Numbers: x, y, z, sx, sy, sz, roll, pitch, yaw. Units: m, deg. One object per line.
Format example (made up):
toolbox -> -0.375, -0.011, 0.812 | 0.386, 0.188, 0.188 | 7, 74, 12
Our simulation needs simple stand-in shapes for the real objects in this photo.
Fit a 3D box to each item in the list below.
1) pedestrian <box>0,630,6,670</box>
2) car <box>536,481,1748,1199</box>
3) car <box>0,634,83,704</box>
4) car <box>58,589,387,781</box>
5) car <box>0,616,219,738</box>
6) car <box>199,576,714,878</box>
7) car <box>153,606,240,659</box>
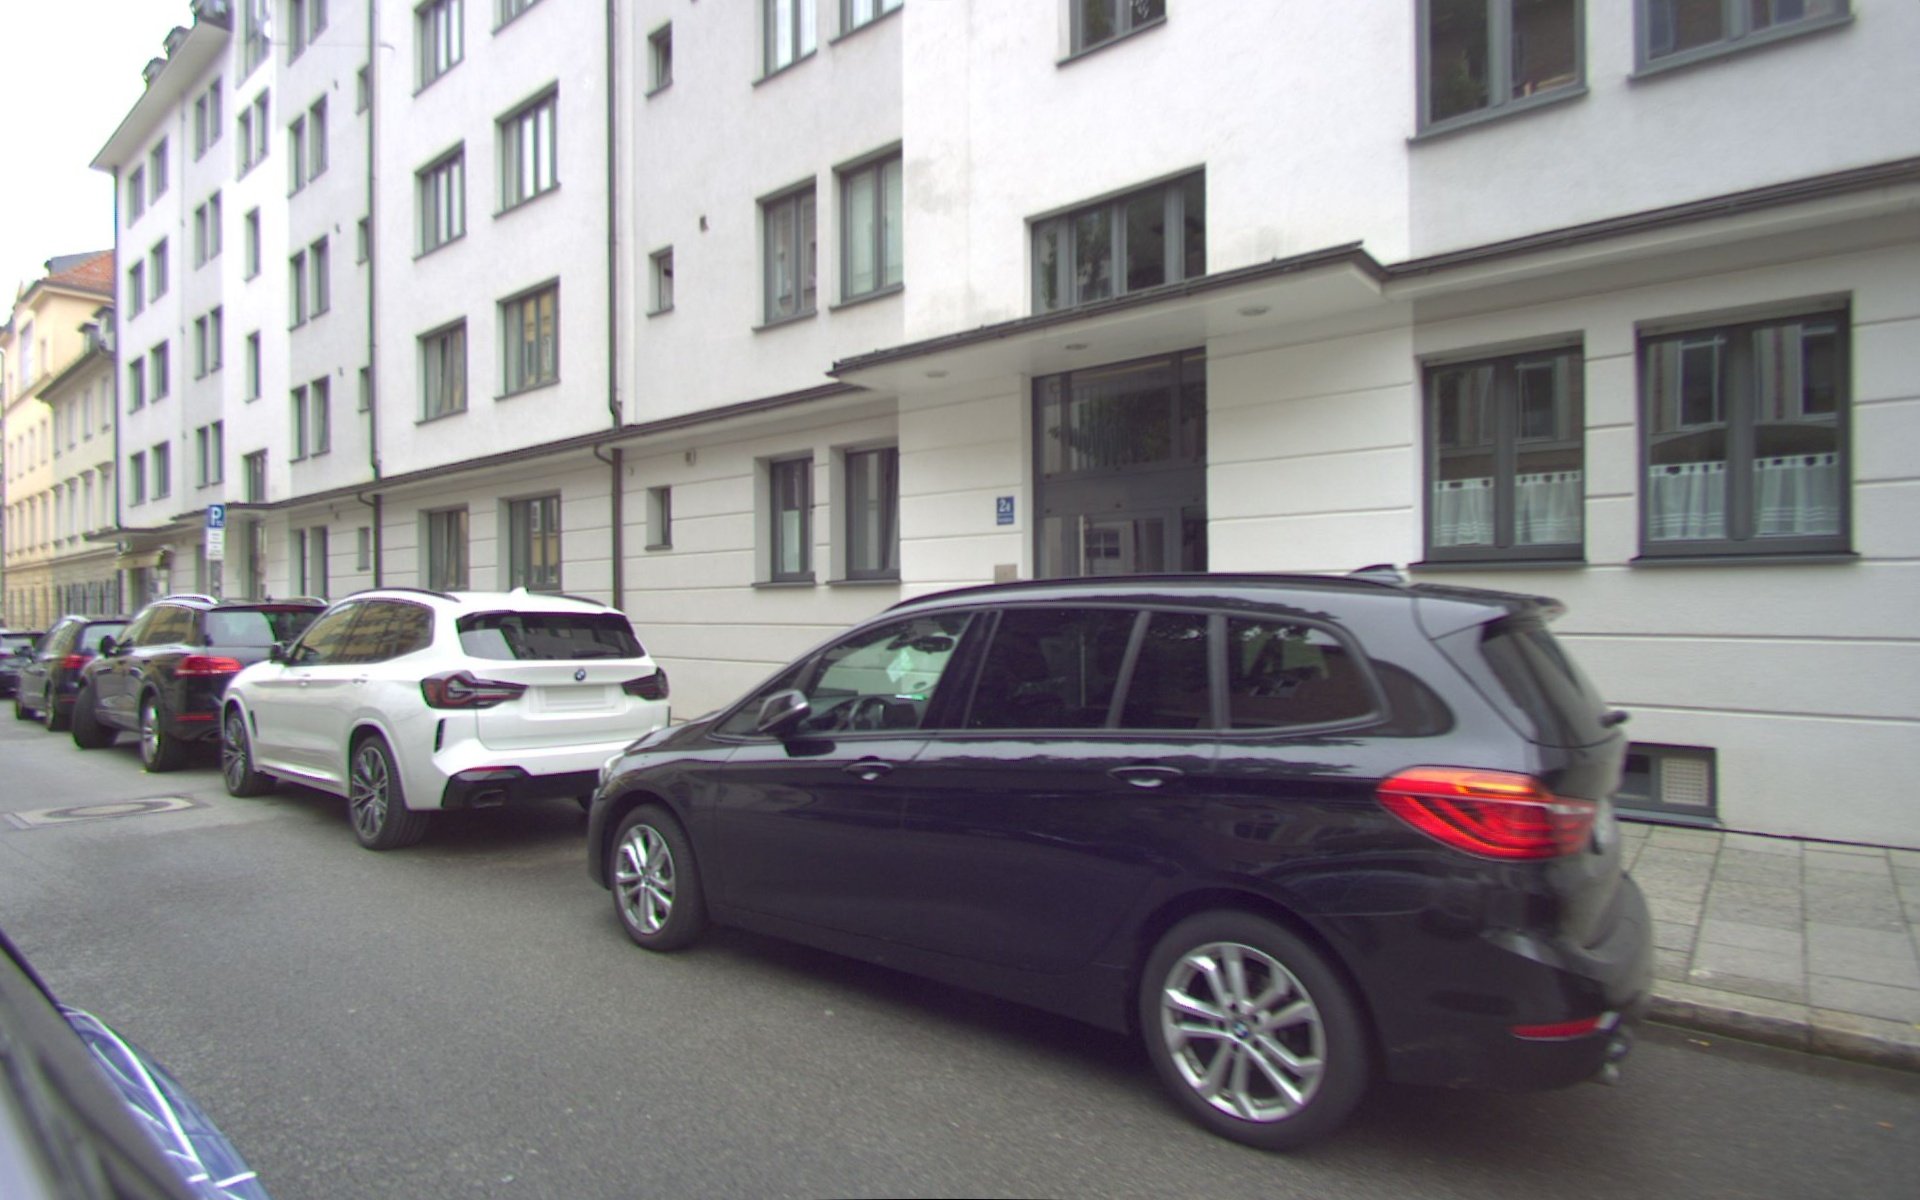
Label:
pedestrian -> -42.191, 2.186, 44.113 | 1.021, 1.725, 0.797 | -2, -2, 41
car -> 0.336, 0.682, 4.227 | 4.583, 1.671, 1.855 | -2, -3, 37
car -> -20.162, 1.424, 21.253 | 4.047, 1.365, 1.625 | -2, -3, 34
car -> -8.235, 0.845, 11.154 | 4.516, 1.701, 1.853 | -2, -3, 40
car -> -12.585, 1.068, 14.870 | 4.155, 1.551, 1.755 | -2, -3, 40
car -> -4.066, 0.796, 7.805 | 4.586, 1.671, 1.853 | -2, -3, 40
car -> -31.334, 1.304, 41.509 | 4.397, 2.029, 1.973 | -1, 0, 41
